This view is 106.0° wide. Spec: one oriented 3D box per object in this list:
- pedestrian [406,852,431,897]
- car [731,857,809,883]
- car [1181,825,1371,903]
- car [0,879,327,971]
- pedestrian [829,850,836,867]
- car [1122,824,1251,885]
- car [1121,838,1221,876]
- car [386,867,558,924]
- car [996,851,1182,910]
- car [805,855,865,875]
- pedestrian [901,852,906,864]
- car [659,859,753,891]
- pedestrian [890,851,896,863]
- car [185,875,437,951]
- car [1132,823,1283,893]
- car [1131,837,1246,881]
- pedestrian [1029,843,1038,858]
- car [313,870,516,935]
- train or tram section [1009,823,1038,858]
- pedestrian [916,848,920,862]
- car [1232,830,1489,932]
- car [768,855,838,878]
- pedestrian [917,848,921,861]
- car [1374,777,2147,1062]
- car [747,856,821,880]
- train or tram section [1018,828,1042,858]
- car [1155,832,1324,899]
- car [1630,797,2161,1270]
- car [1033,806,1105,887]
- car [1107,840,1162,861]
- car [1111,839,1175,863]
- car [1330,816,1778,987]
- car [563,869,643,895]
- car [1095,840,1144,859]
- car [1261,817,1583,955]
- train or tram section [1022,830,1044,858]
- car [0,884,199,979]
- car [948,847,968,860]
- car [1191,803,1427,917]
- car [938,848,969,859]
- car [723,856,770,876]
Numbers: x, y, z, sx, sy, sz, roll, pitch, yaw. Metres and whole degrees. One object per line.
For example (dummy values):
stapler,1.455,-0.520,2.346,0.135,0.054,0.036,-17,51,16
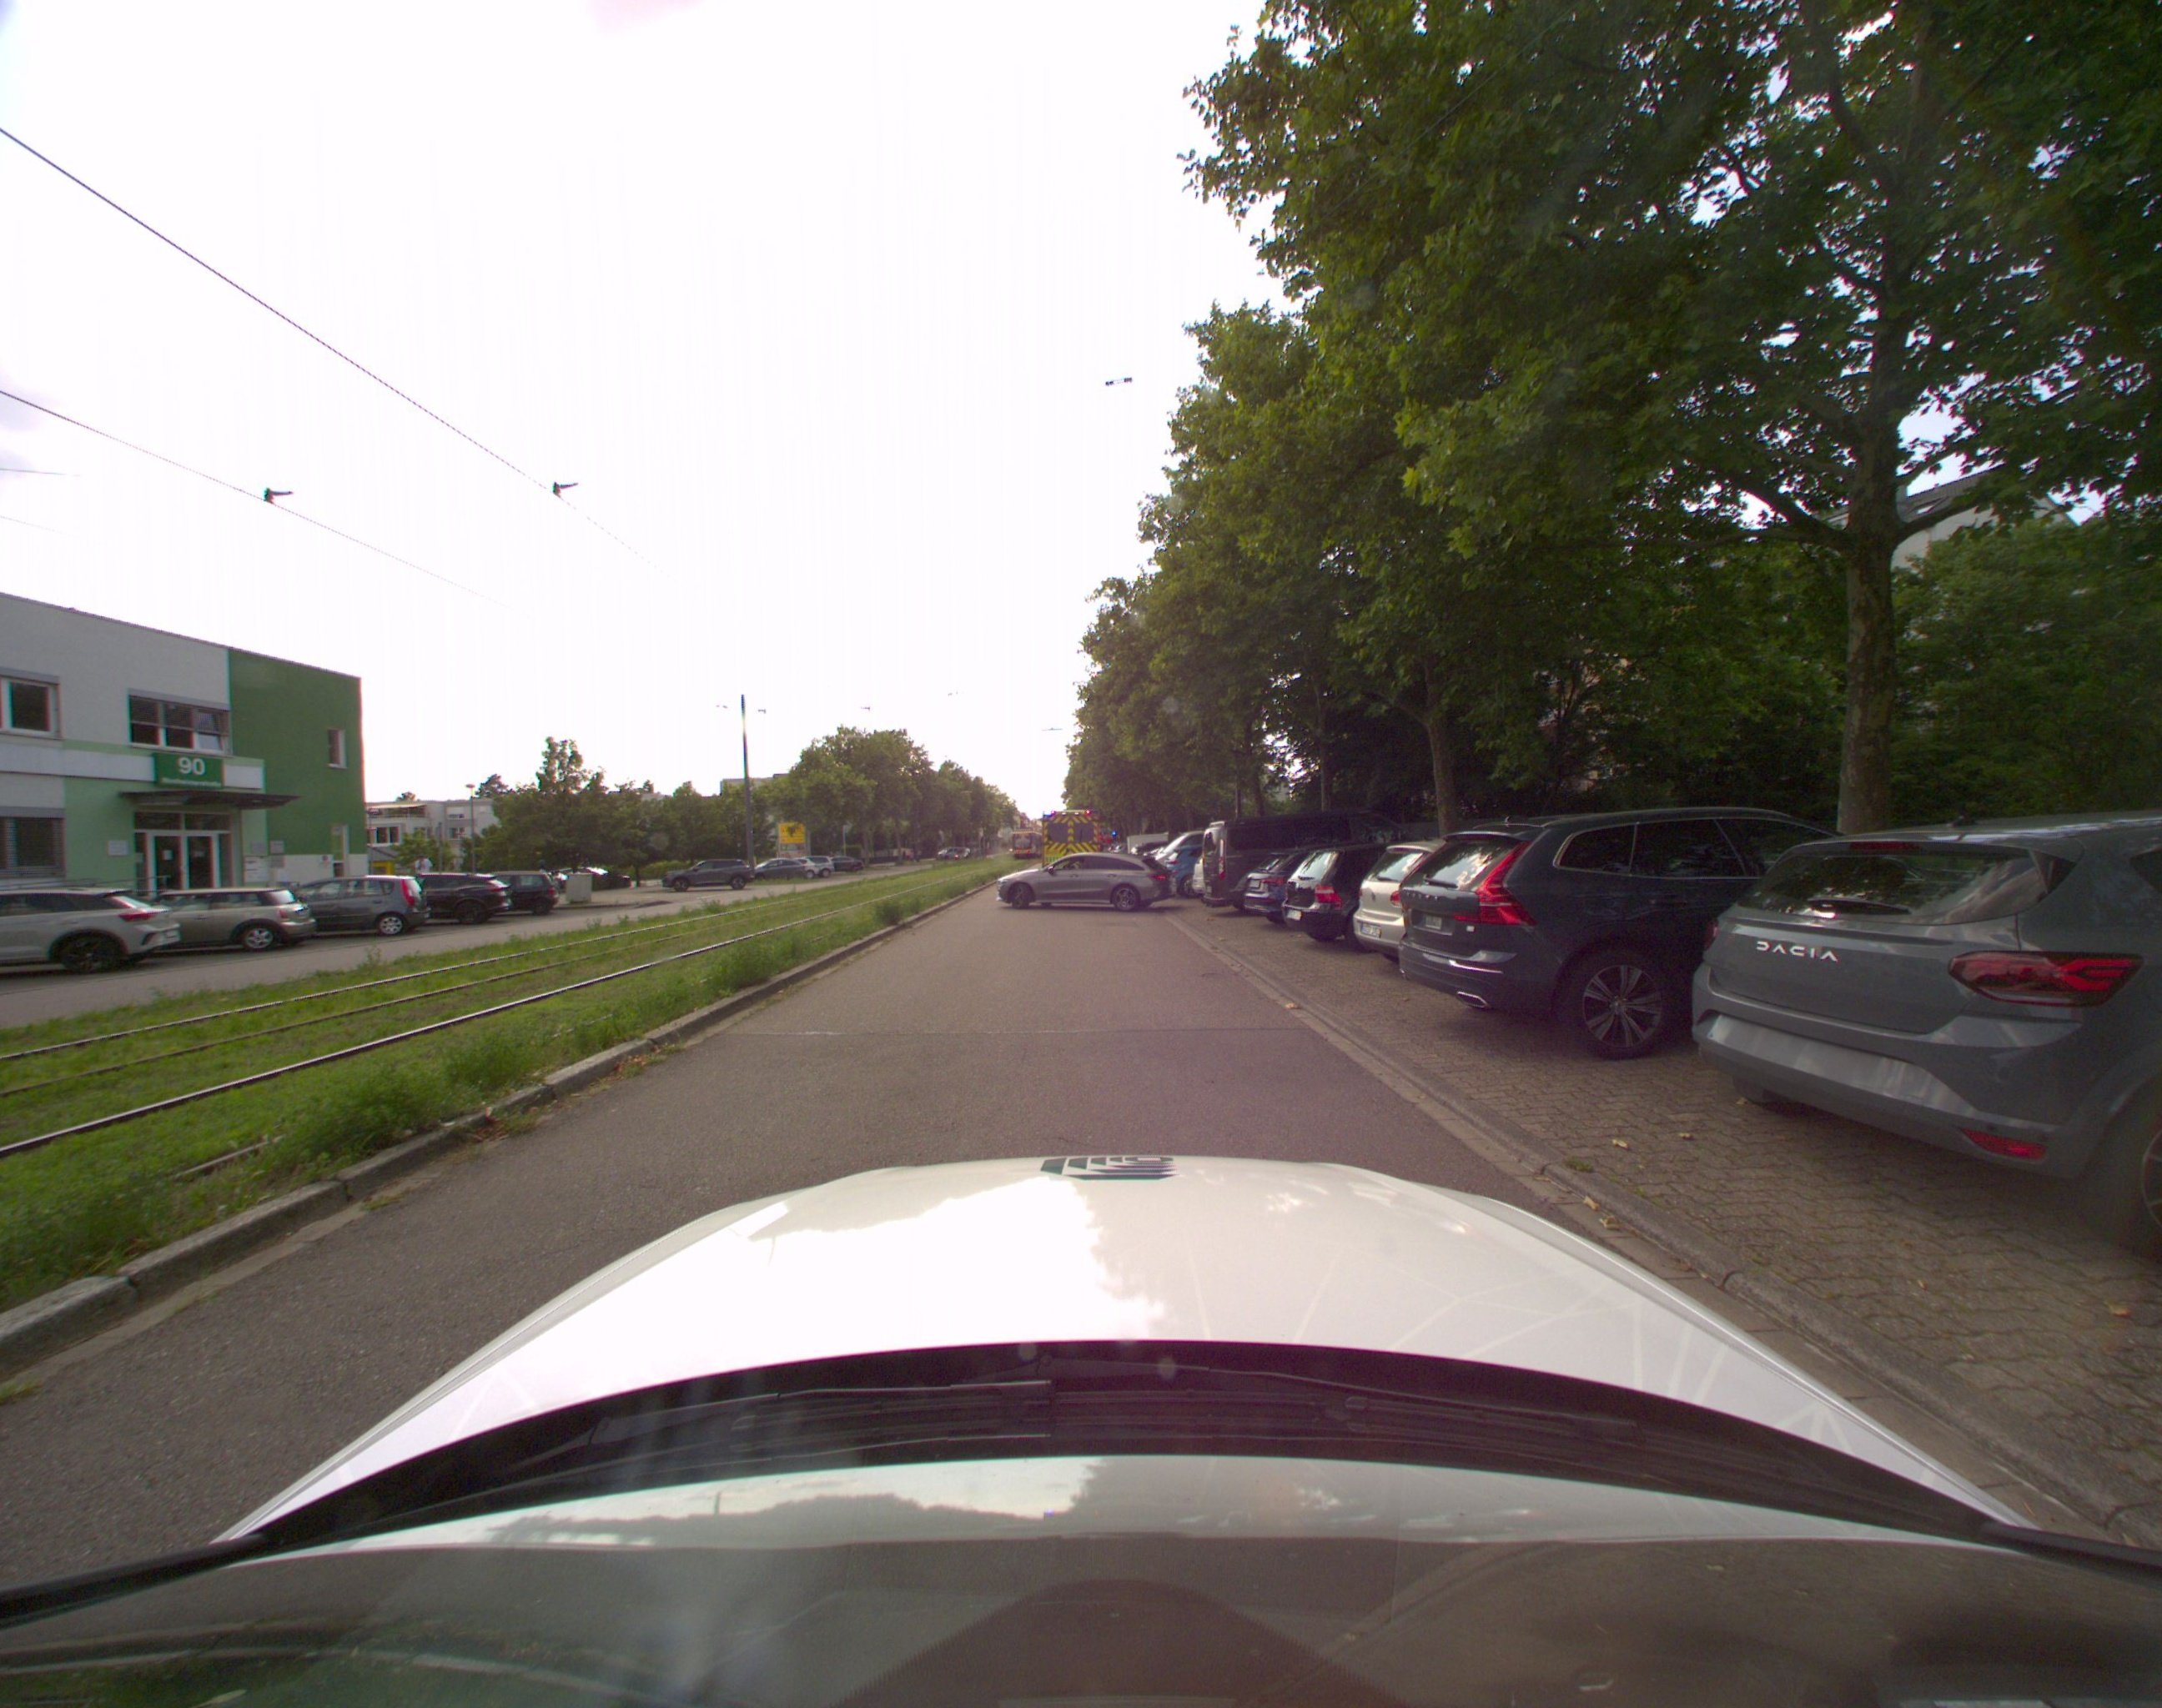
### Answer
pedestrian,-27.597,0.854,33.922,0.544,1.828,0.508,-2,0,-3
car,-19.573,0.986,51.331,4.254,1.482,1.862,-1,0,-37
car,5.087,0.244,21.669,4.533,1.766,1.855,-3,0,-2
car,-19.470,1.436,17.622,4.248,1.482,1.865,-3,1,-30
pedestrian,-24.564,0.461,80.559,0.465,1.676,0.603,-2,0,-2
car,3.996,0.010,31.312,4.538,2.043,1.853,-3,0,-5
car,4.360,0.136,39.947,4.538,1.608,1.853,-3,0,-5
car,-19.783,1.297,26.708,4.248,1.482,1.865,-3,1,-30
car,0.225,0.638,20.801,4.418,1.385,1.775,0,0,17
car,-19.754,0.852,65.486,4.257,1.482,1.861,-1,0,-40
pedestrian,-22.586,0.521,103.699,0.420,1.473,0.466,-2,0,-5
car,-18.928,1.023,41.233,4.243,1.482,1.868,-1,0,-26
pedestrian,-25.305,0.418,109.823,0.631,1.551,0.621,-2,0,-4
car,-19.253,1.402,20.664,4.248,1.482,1.865,-3,1,-30
car,4.076,0.114,26.720,4.538,2.000,1.853,-3,0,-5
car,4.543,0.204,34.794,4.538,1.608,1.853,-3,0,-5
pedestrian,-4.945,-0.379,85.387,0.878,1.525,0.750,0,0,-1
car,-19.199,1.341,23.750,4.248,1.482,1.865,-3,1,-30
train or tram section,-6.256,-1.445,89.640,2.504,3.584,7.442,-3,0,-1
pedestrian,-19.945,0.153,99.633,0.420,1.730,0.466,-2,0,-5
car,4.874,0.452,14.574,3.954,1.494,1.755,-3,0,-2
car,-19.540,0.887,57.285,4.254,1.482,1.862,-1,0,-37
pedestrian,-23.745,0.077,119.652,0.465,1.828,0.422,-2,0,-3
car,4.759,0.425,6.212,4.365,1.639,1.756,-3,0,1
car,-19.765,0.909,54.251,4.254,1.482,1.862,-1,0,-37
train or tram section,-6.434,-1.387,104.512,2.504,3.584,7.442,-3,0,-1
car,4.626,0.310,24.194,4.539,1.660,1.852,-3,0,-6
car,5.177,0.491,3.533,4.365,1.501,1.756,-3,1,1
car,-0.380,-0.281,33.262,2.632,2.966,6.301,1,0,1
car,4.650,-0.326,71.357,4.538,1.608,1.853,-3,0,-5
car,4.654,-0.235,61.508,4.538,1.608,1.853,-3,0,-5
car,5.040,0.463,9.061,3.954,1.494,1.755,-3,0,-2
car,-30.125,1.728,51.366,3.971,1.565,1.778,0,0,2
car,3.748,-0.420,79.575,4.538,1.608,1.853,-3,0,-5
car,4.846,0.398,11.784,3.968,1.605,1.749,-3,0,-11
train or tram section,-6.512,-1.358,111.952,2.504,3.584,7.442,-3,0,-1
car,-19.318,1.438,14.680,4.253,1.482,1.863,-3,1,-35
car,-16.588,-0.088,110.043,1.988,1.557,4.368,-3,1,-1
car,4.845,0.112,17.739,4.533,2.123,1.855,-3,0,-2
car,-20.365,-0.088,130.000,4.652,1.633,1.861,-3,1,-40
car,-30.675,1.093,74.661,3.949,1.750,2.013,0,1,31
